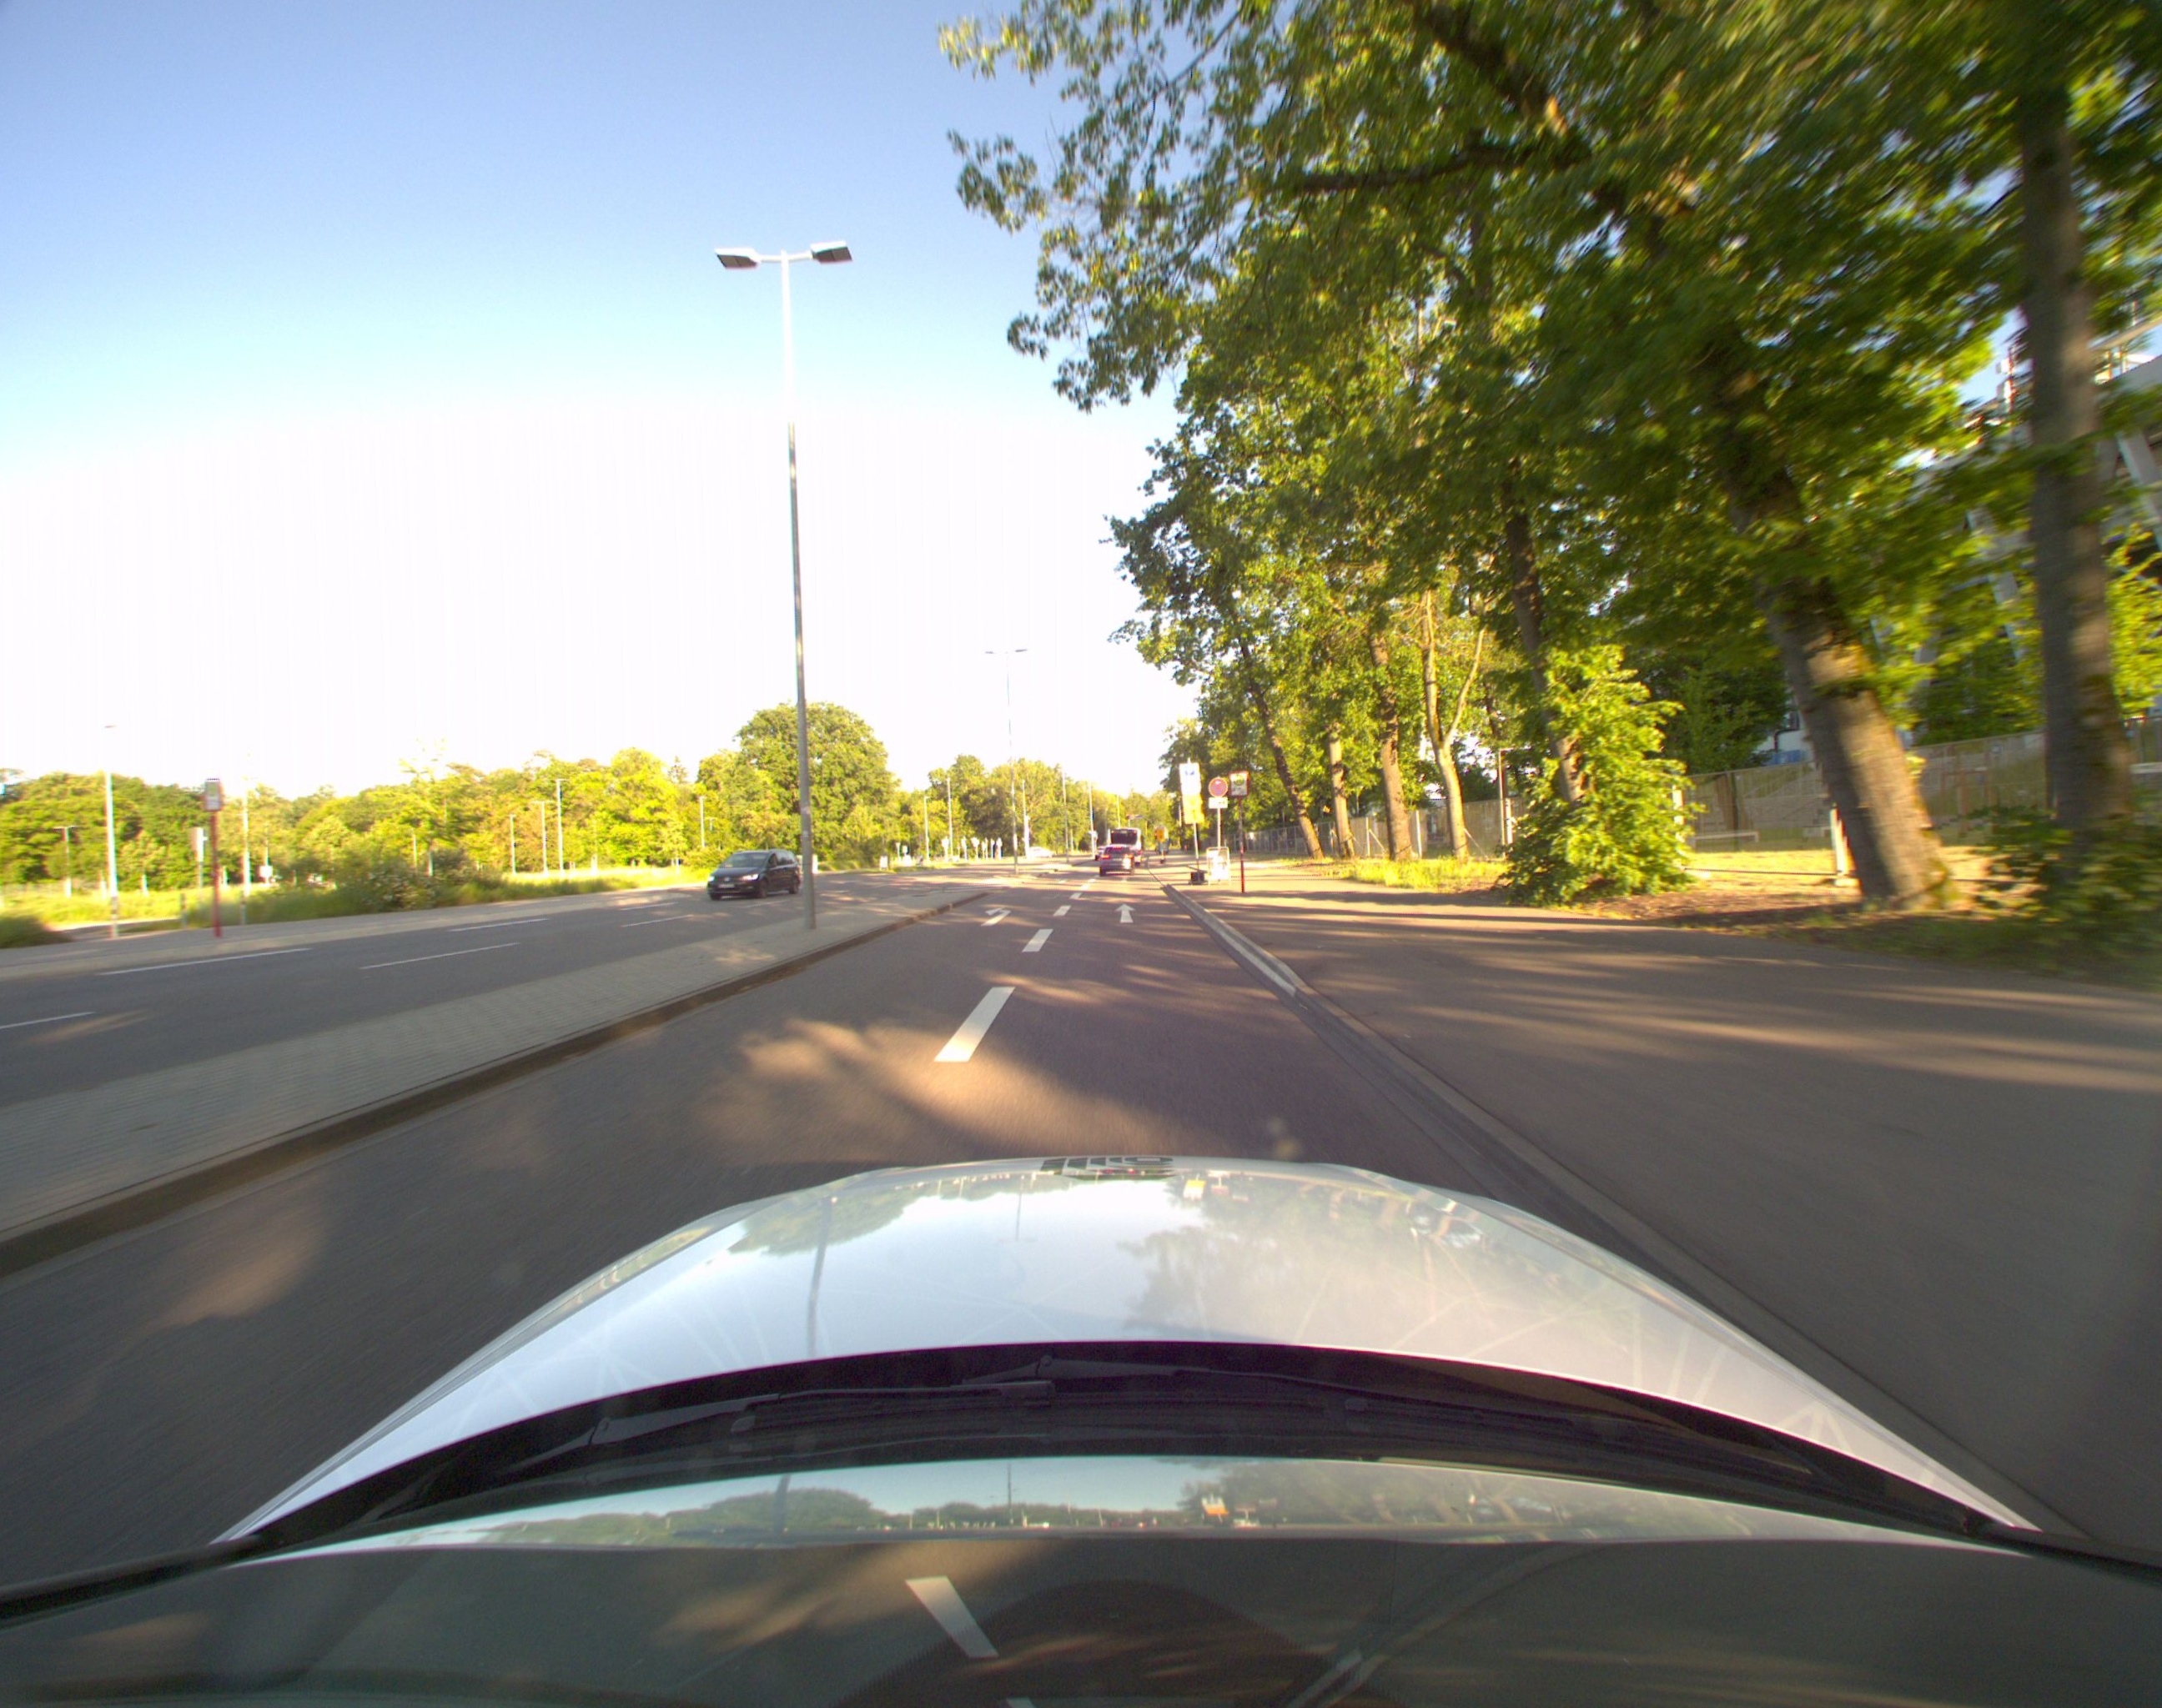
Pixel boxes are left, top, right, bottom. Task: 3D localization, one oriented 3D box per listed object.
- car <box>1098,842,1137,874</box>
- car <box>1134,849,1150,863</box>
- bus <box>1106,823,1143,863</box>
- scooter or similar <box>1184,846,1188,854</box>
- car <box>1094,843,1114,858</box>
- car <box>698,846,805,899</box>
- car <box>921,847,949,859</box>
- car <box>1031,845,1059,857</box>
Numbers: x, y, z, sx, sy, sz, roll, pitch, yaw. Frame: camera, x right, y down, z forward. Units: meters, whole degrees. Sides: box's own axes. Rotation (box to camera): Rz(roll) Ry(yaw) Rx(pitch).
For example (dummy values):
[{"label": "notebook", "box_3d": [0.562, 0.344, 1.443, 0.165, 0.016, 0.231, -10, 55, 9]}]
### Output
[{"label": "car", "box_3d": [2.019, 0.195, 43.897, 1.889, 1.632, 4.006, -1, 0, 5]}, {"label": "car", "box_3d": [7.650, 0.286, 102.449, 1.901, 1.728, 4.585, -1, 0, 5]}, {"label": "bus", "box_3d": [3.629, -0.800, 65.979, 2.582, 2.989, 9.339, -1, 0, 5]}, {"label": "scooter or similar", "box_3d": [19.788, -0.703, 153.372, 0.506, 1.444, 2.022, -3, 0, 0]}, {"label": "car", "box_3d": [2.526, -0.339, 87.890, 1.828, 1.518, 4.006, -2, 0, 5]}, {"label": "car", "box_3d": [-11.606, 0.586, 29.067, 1.776, 1.692, 4.704, 0, 1, 1]}, {"label": "car", "box_3d": [-21.942, -0.162, 122.512, 3.980, 1.640, 2.062, -3, 0, -5]}, {"label": "car", "box_3d": [-5.463, -0.493, 123.390, 4.211, 1.585, 2.101, -3, 0, -5]}]
